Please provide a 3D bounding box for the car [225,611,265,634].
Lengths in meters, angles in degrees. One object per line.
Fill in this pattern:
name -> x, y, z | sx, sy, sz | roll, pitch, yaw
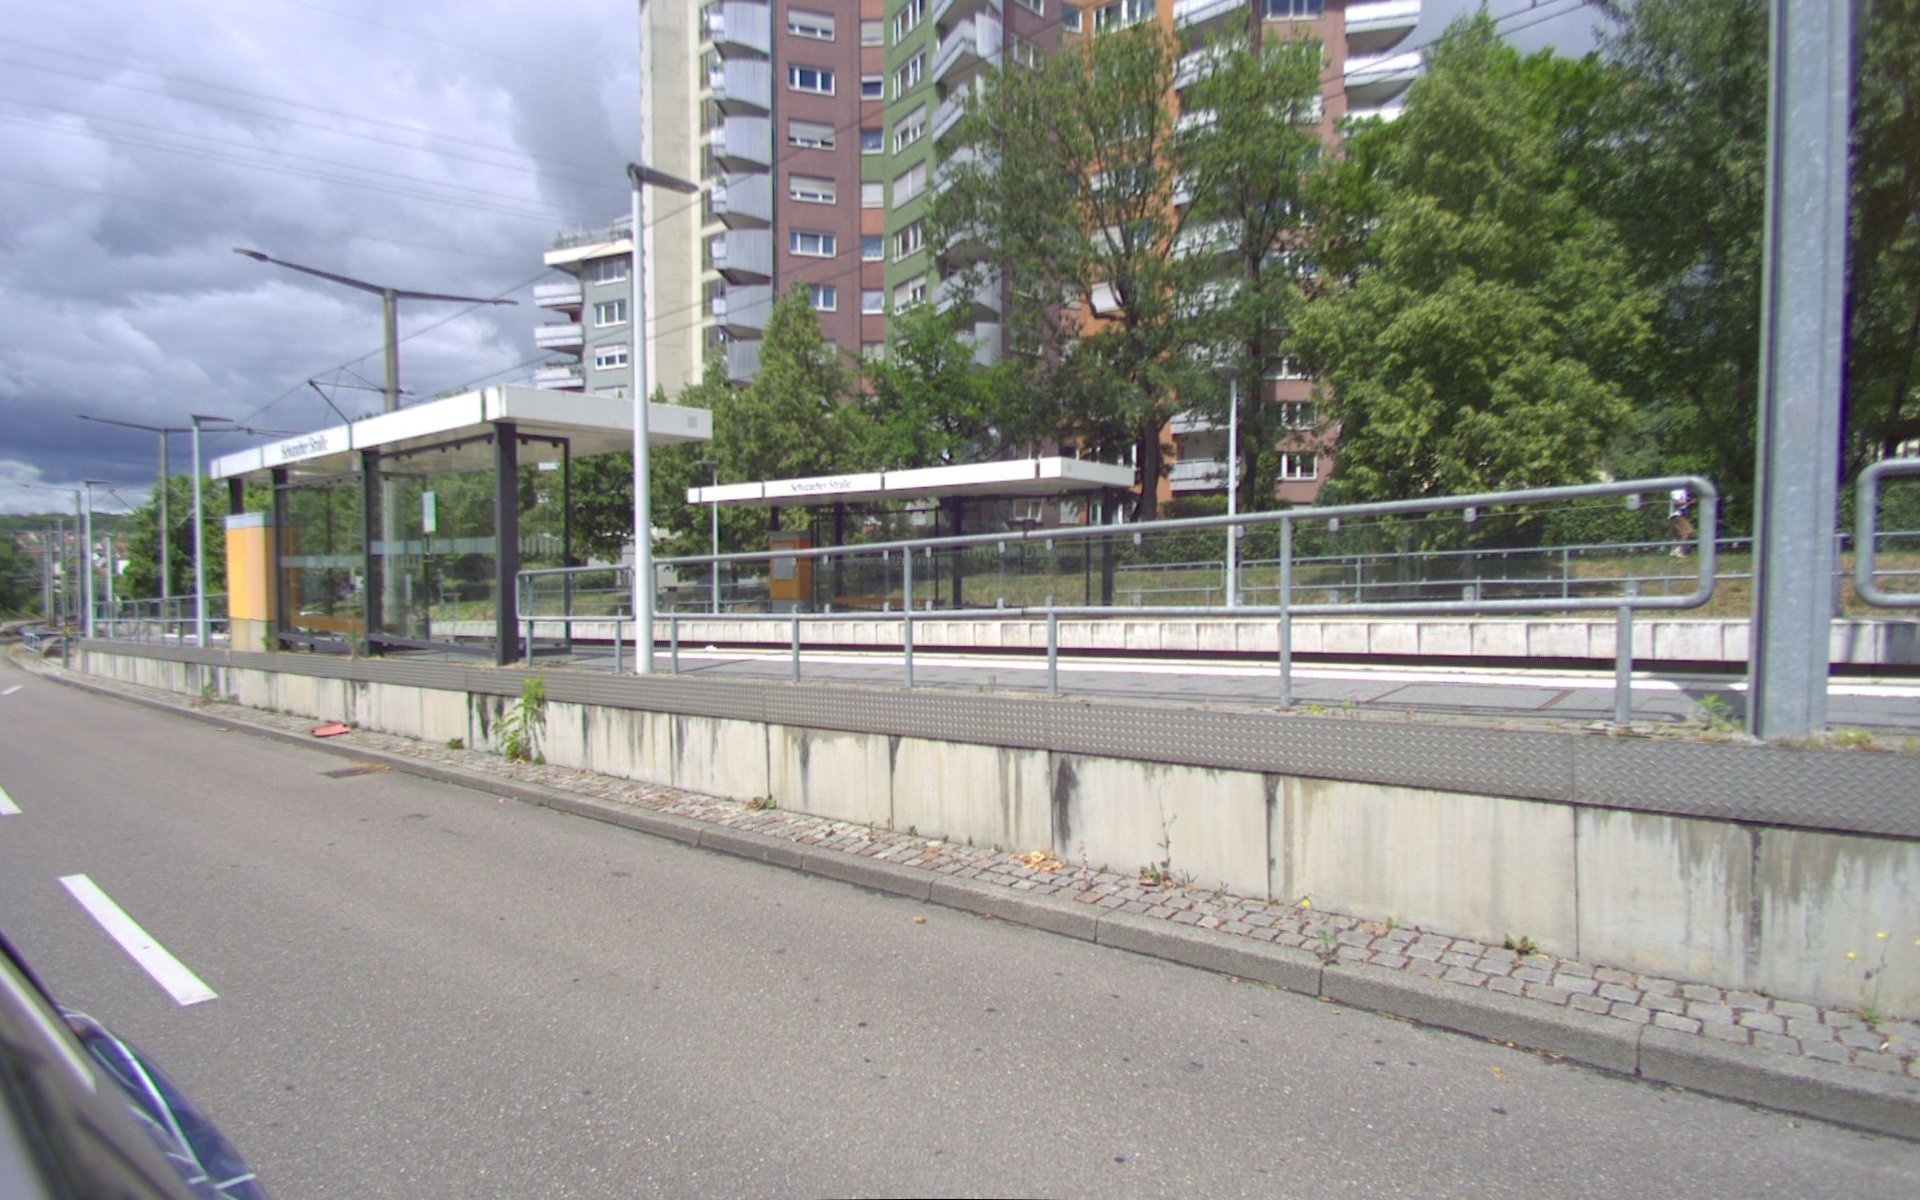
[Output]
car -> -50.758, 1.576, 71.805 | 3.738, 1.524, 1.636 | -1, 0, 44

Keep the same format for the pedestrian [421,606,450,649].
pedestrian -> -19.521, 1.016, 37.645 | 0.824, 1.575, 0.681 | -1, 0, 42

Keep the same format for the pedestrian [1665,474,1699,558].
pedestrian -> 15.496, -1.790, 21.718 | 0.504, 1.725, 0.643 | -1, -1, 40

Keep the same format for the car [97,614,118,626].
car -> -110.778, 2.597, 131.494 | 3.738, 1.524, 1.636 | -1, 0, 44
